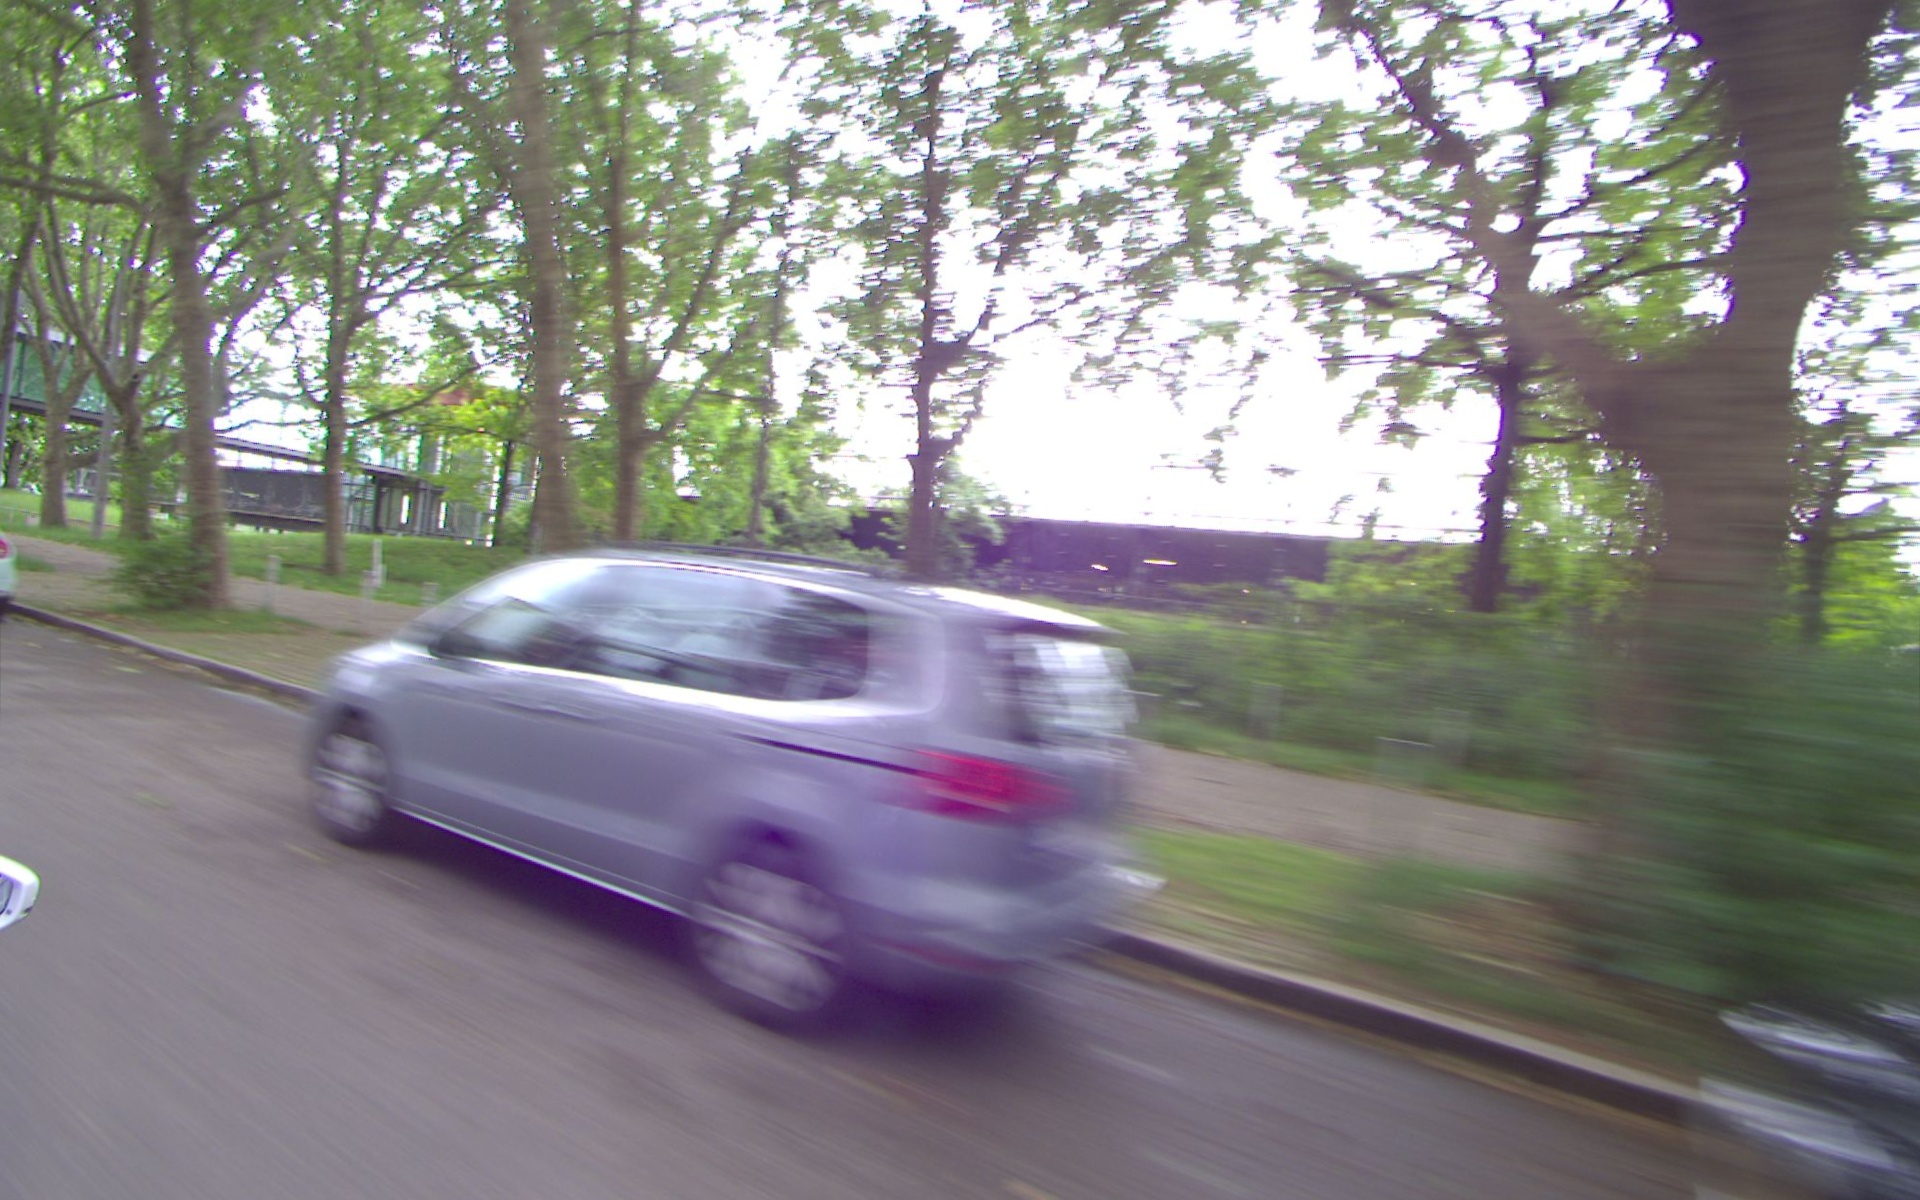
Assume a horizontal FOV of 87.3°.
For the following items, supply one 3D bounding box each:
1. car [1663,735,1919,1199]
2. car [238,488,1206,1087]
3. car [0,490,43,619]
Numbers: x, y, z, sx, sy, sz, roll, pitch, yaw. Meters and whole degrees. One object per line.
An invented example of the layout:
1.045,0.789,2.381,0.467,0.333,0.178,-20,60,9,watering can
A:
4.019,1.356,1.696,4.406,1.445,1.879,7,0,32,car
-1.390,0.525,5.176,4.652,1.701,1.984,6,0,31,car
-13.678,-0.789,12.835,4.028,1.544,1.810,6,0,32,car
